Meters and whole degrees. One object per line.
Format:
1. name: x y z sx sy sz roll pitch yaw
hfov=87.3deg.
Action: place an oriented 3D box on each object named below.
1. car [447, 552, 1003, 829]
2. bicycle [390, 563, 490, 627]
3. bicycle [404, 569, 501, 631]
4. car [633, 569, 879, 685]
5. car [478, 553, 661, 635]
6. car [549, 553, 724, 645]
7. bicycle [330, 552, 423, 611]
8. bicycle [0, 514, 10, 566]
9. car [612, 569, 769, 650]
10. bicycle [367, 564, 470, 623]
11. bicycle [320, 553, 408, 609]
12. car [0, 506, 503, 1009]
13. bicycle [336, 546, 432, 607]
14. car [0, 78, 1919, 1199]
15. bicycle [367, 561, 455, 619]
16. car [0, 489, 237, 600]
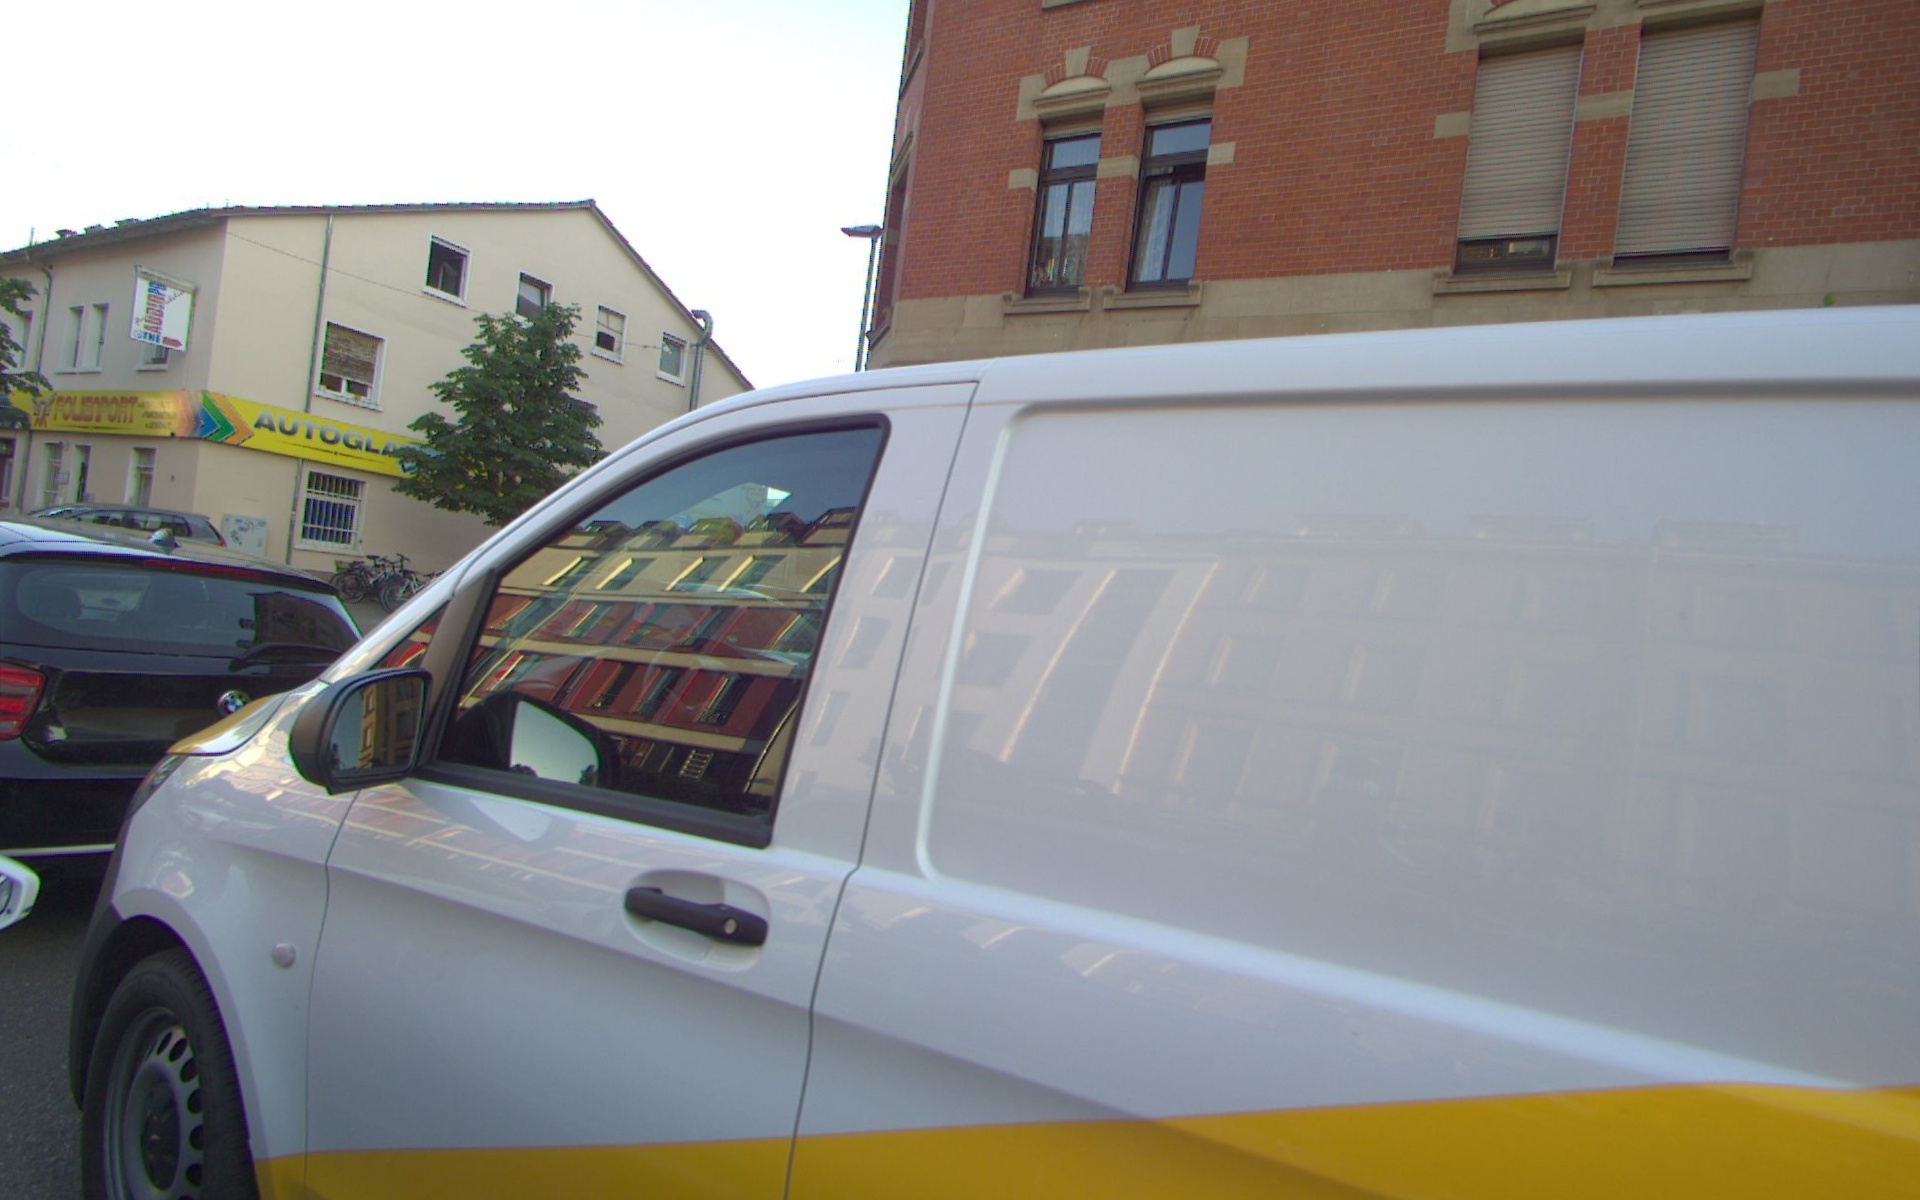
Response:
1. car: -2.031 0.578 8.276 4.348 1.442 1.728 7 1 30
2. bicycle: -10.976 -0.087 21.310 0.420 1.141 1.925 8 -1 23
3. bicycle: -10.604 0.018 21.098 0.420 1.087 1.856 10 -1 23
4. car: -3.491 0.560 18.052 1.847 1.692 4.327 5 -2 29
5. car: -9.960 -0.166 25.597 4.494 1.528 1.744 7 -1 29
6. car: -8.893 -0.046 27.564 4.499 1.854 1.876 8 0 30
7. bicycle: -12.990 -0.402 22.466 0.338 1.082 1.735 10 -1 30
8. bicycle: -20.007 -1.291 20.593 1.456 1.030 0.388 7 1 31
9. car: -7.978 0.263 29.688 4.260 1.924 1.876 5 -1 30
10. bicycle: -11.567 -0.118 21.552 0.421 1.022 1.853 10 -1 32
11. bicycle: -13.336 -0.415 22.559 0.338 1.031 1.606 10 0 30
12. car: -4.208 0.327 4.520 4.182 1.440 1.725 7 -2 31
13. bicycle: -13.389 -0.525 23.447 0.338 1.162 1.864 10 -1 32
14. car: 0.379 0.616 1.846 4.996 1.906 1.897 7 -1 31
15. bicycle: -11.937 -0.208 21.927 0.338 1.053 1.605 10 0 32
16. car: -15.675 -1.007 17.964 1.727 1.533 4.054 9 1 32
